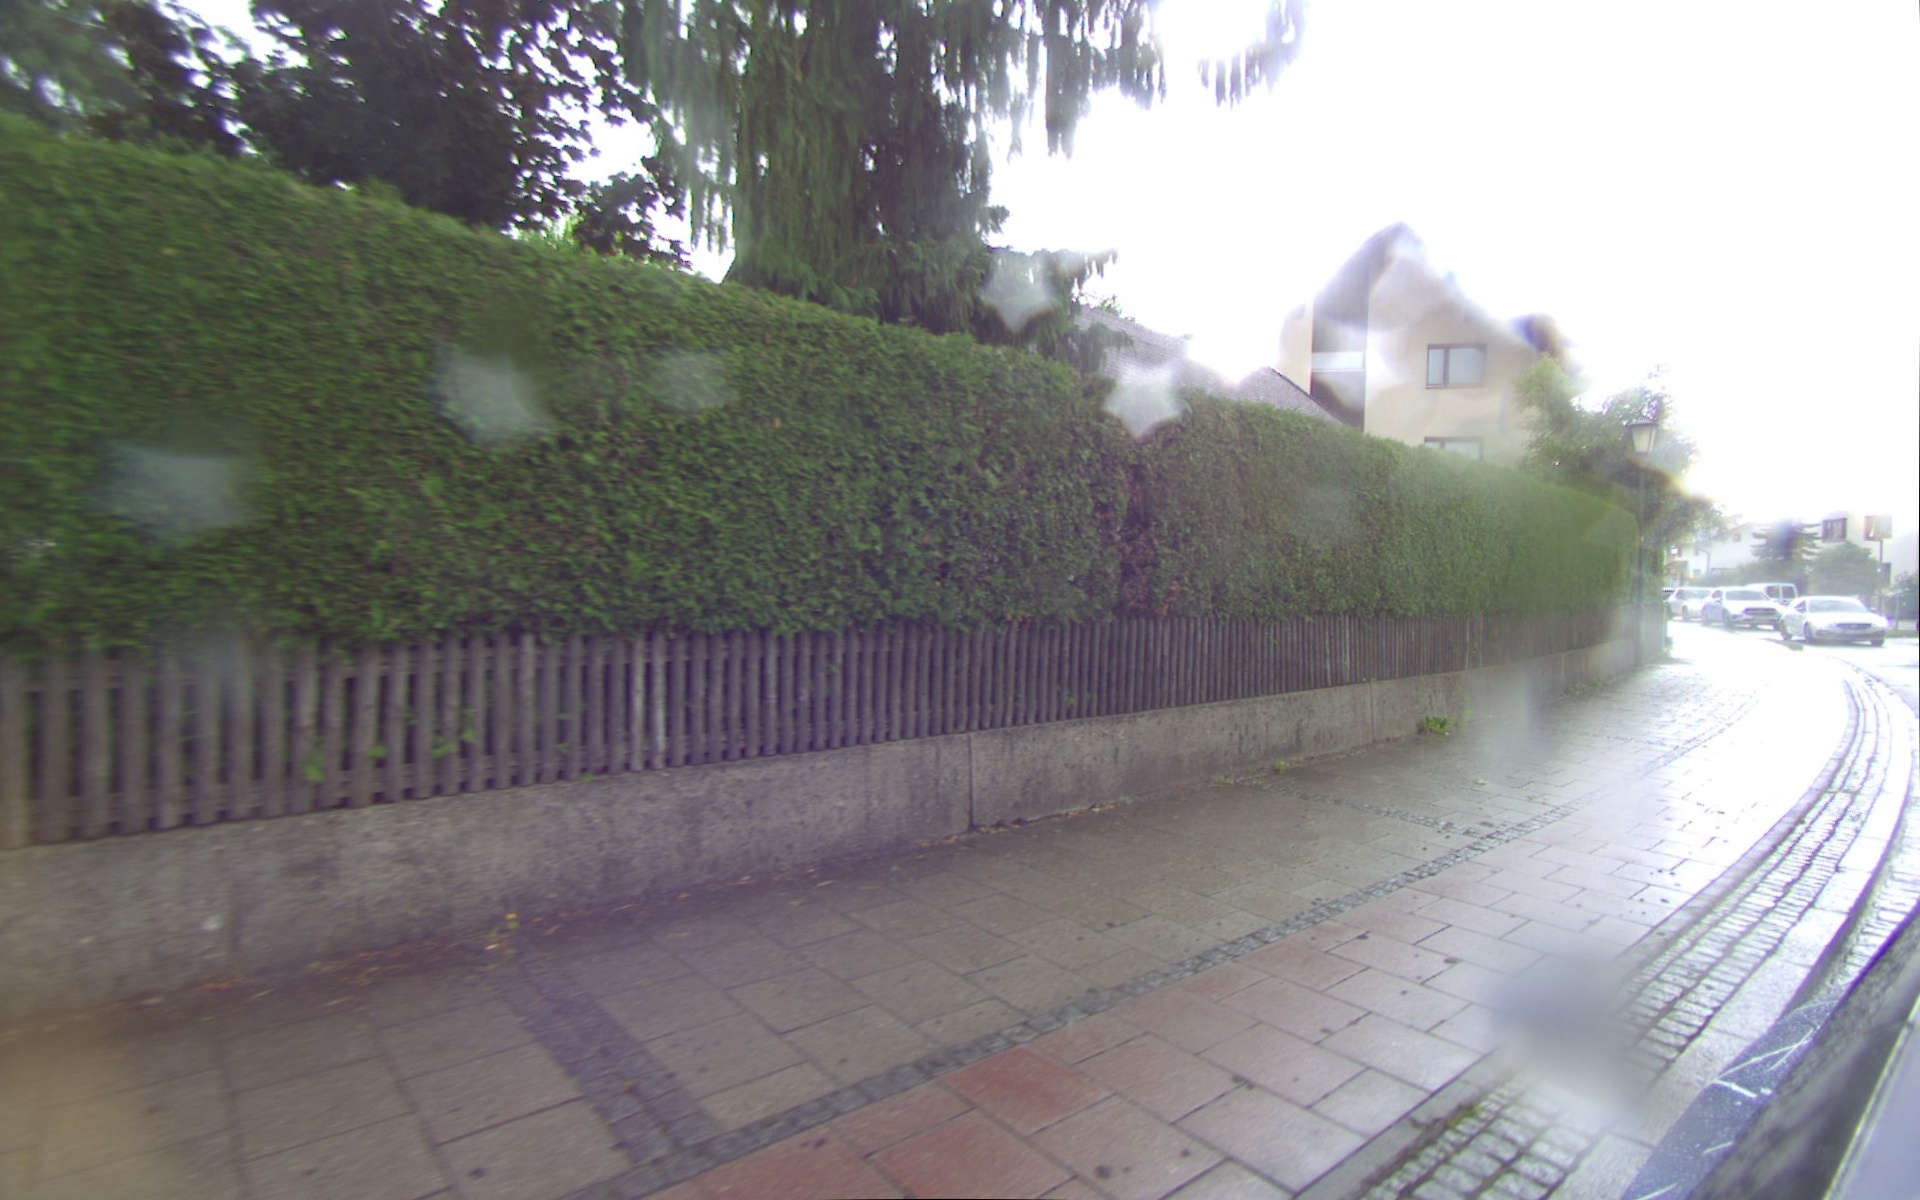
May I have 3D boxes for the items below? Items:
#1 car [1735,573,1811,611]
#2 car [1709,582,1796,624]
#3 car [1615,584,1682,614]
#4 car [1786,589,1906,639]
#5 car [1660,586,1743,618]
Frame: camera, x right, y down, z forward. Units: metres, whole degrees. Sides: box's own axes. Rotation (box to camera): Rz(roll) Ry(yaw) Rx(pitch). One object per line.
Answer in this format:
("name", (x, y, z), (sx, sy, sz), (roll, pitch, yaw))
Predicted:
("car", (40.251, -0.405, 50.192), (1.625, 1.787, 4.302), (-1, 0, 20))
("car", (31.669, 0.091, 40.544), (1.776, 1.568, 4.245), (-1, 0, 25))
("car", (37.680, -0.086, 55.494), (1.770, 1.568, 4.259), (-1, 0, 16))
("car", (27.013, 0.386, 31.016), (1.778, 1.412, 4.240), (-1, 0, 27))
("car", (34.706, 0.071, 47.498), (1.770, 1.391, 4.259), (-1, 0, 16))
